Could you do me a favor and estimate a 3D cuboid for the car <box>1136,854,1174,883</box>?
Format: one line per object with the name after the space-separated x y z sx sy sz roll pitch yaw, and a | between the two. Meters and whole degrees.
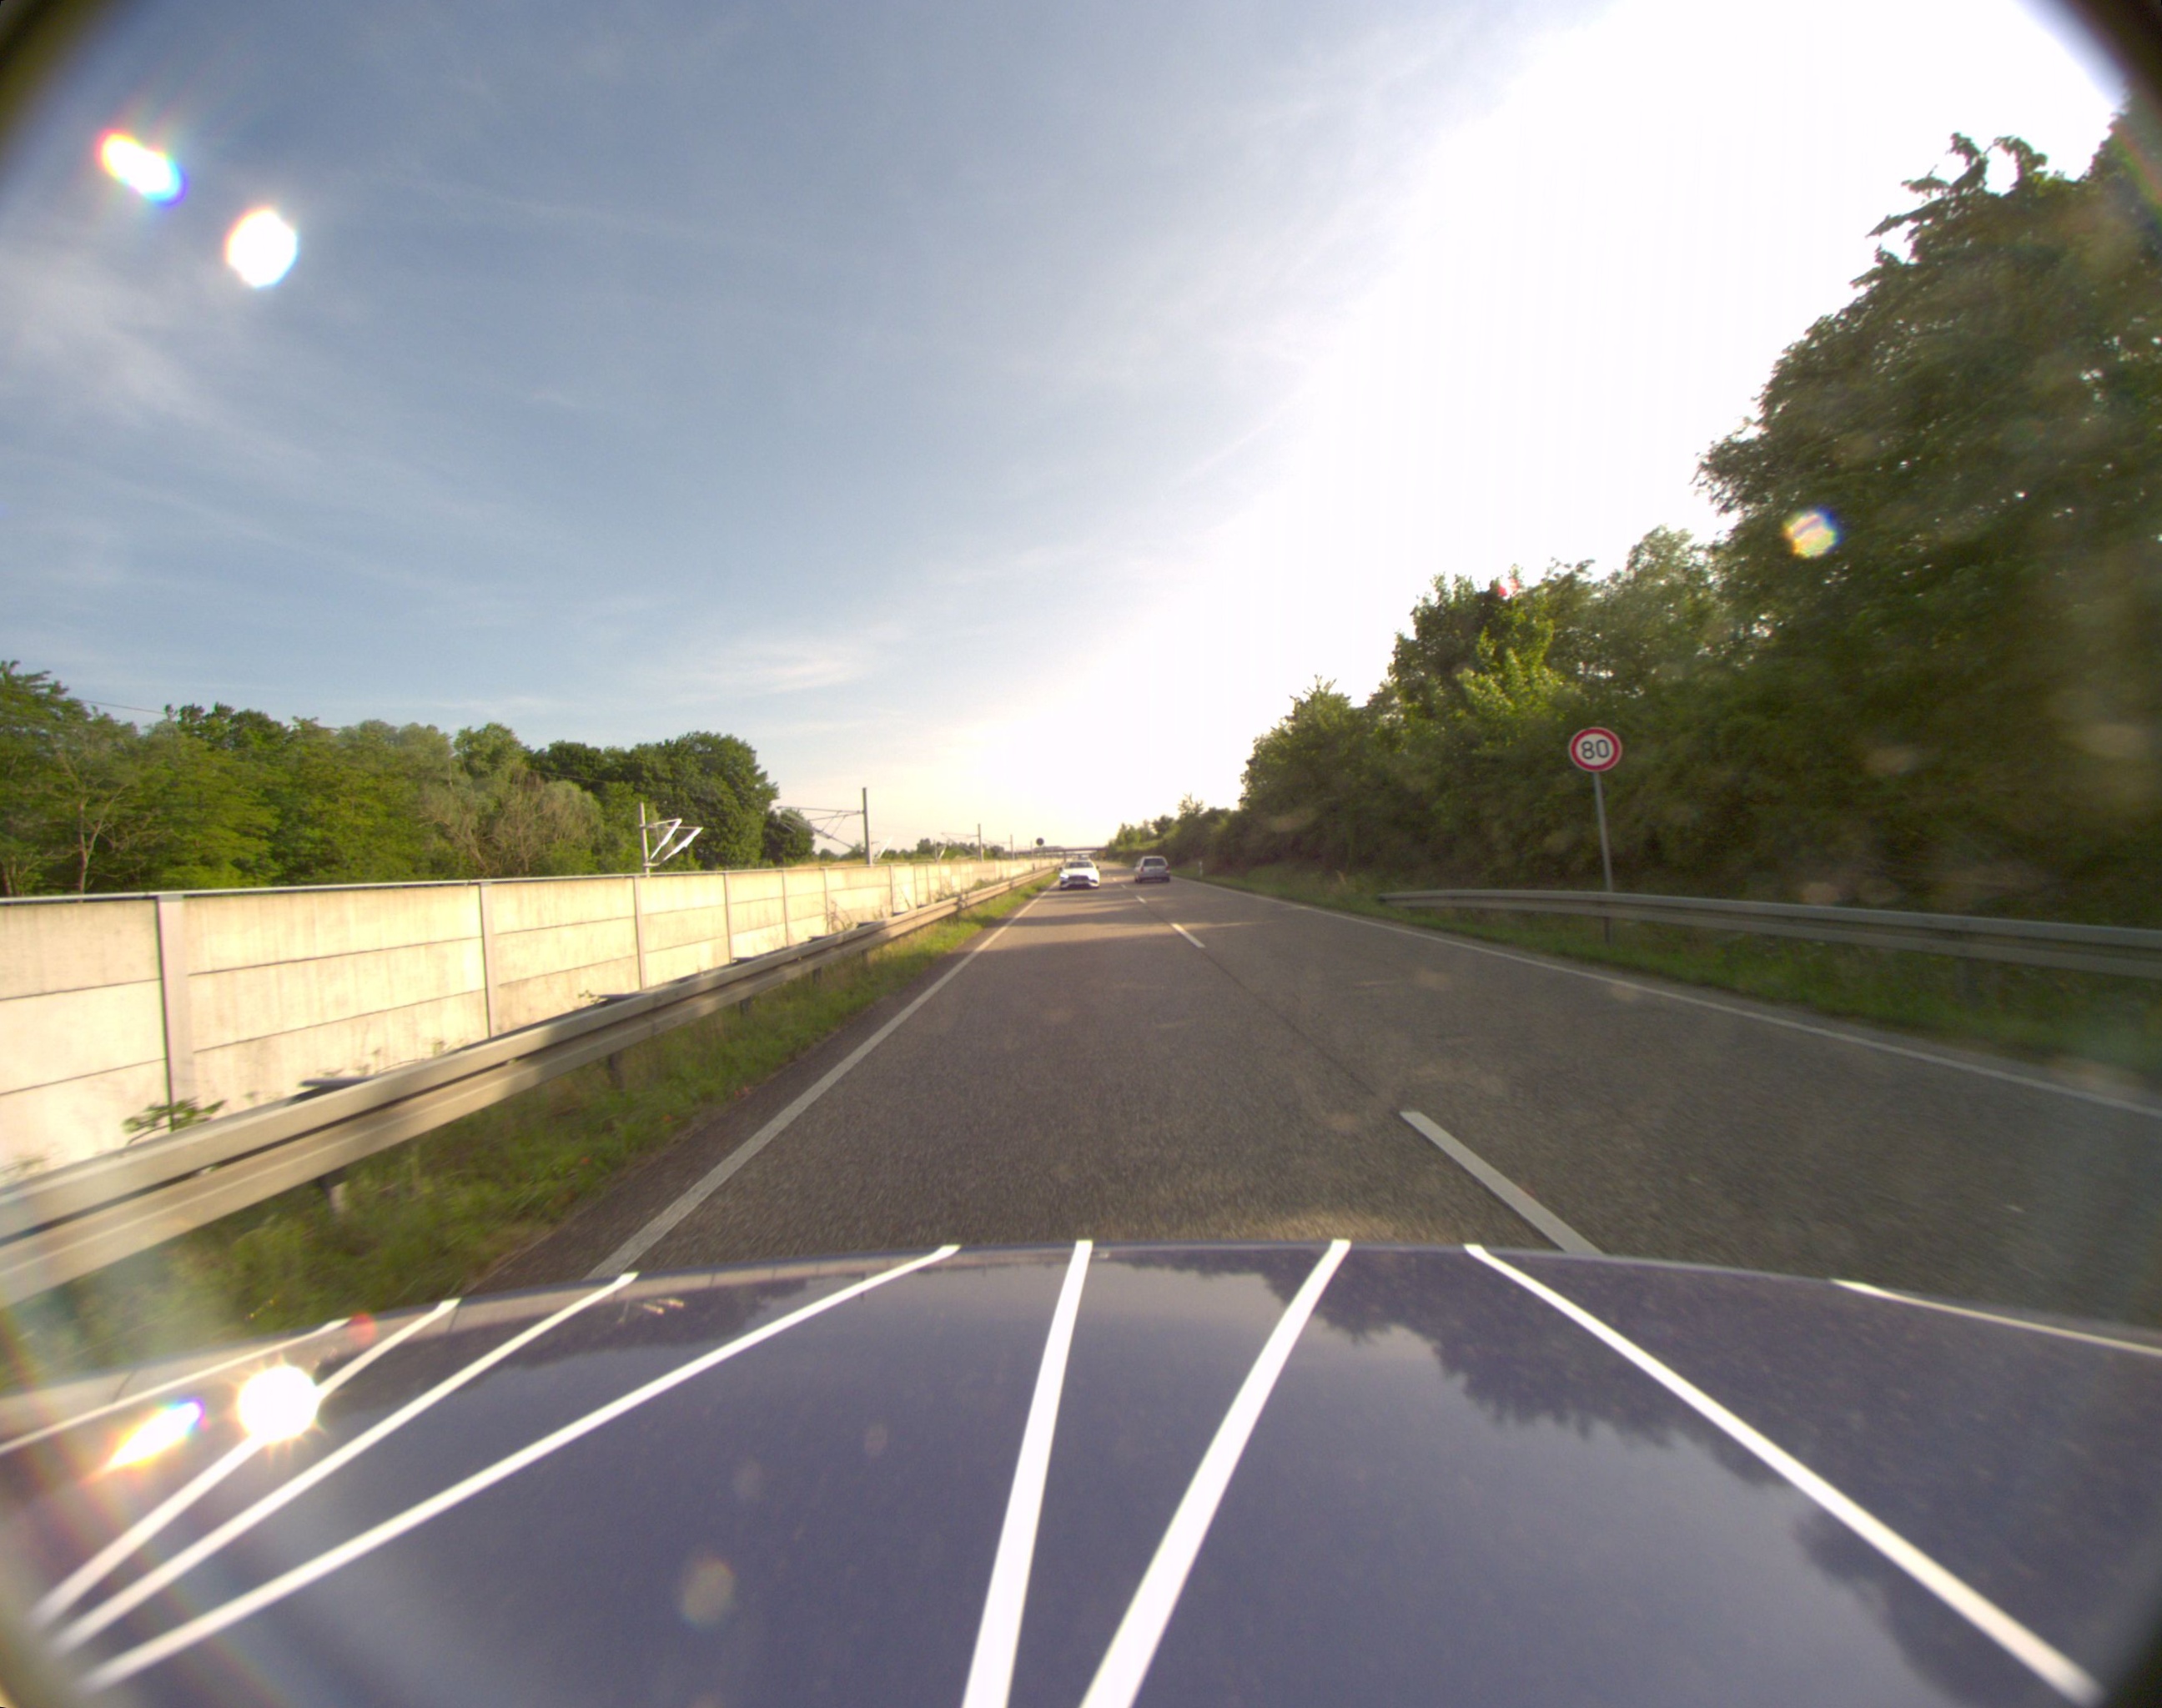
4.055 0.769 42.156 1.724 1.386 4.360 -2 1 1 | car

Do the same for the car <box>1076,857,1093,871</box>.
0.440 1.164 90.127 1.953 1.430 4.612 -4 0 1 | car

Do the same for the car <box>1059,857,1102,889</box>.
-0.009 0.898 37.554 1.953 1.430 4.612 -2 0 1 | car
